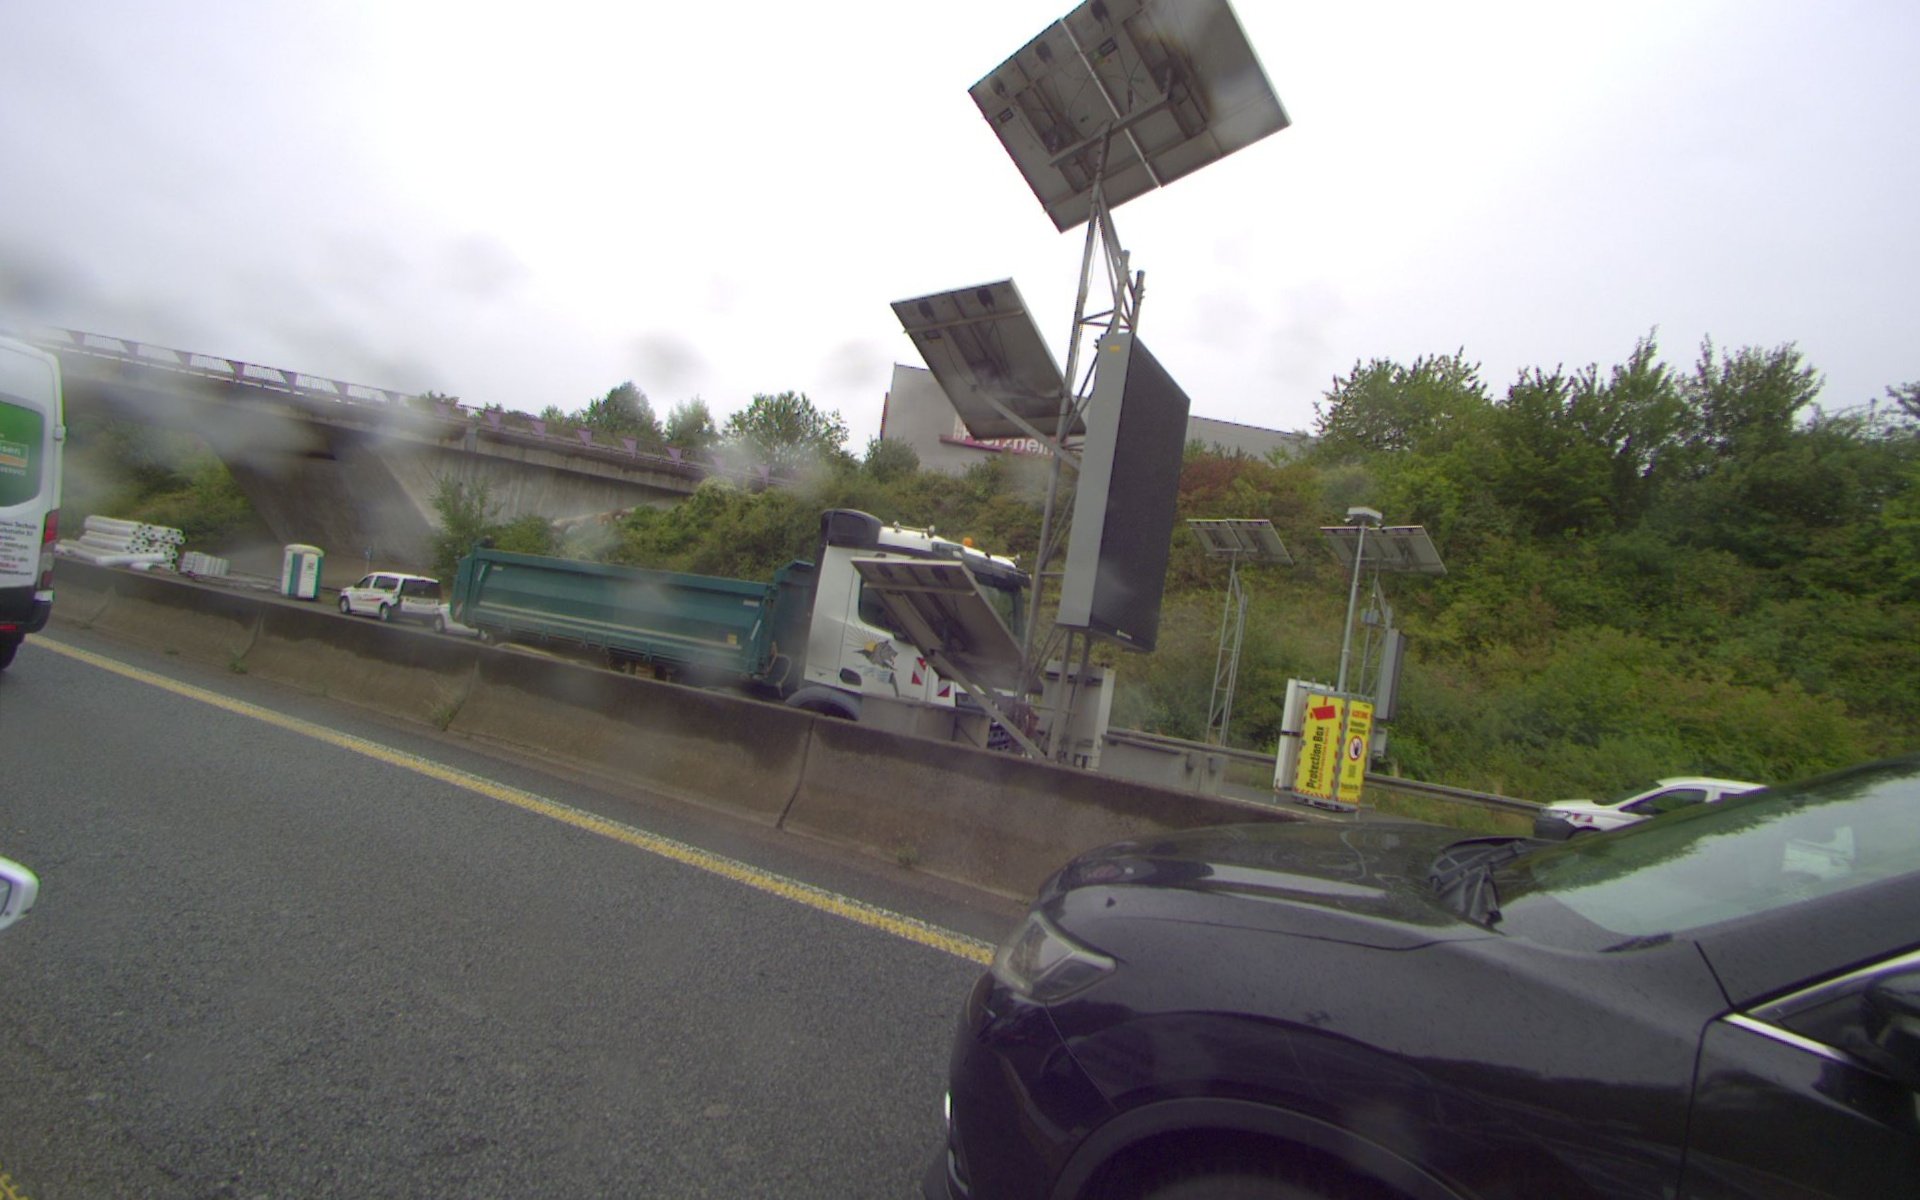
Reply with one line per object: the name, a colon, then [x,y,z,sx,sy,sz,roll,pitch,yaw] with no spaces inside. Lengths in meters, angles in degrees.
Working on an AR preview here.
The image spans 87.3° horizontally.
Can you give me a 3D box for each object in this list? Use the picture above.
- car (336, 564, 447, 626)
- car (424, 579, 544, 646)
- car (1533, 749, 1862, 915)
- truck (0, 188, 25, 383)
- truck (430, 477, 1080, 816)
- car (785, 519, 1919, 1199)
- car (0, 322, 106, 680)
car: [-21.404,-0.200,37.833,4.090,1.829,1.850,6,-2,34]
car: [-16.373,0.419,34.546,4.058,1.765,1.731,6,-2,34]
car: [12.269,3.804,17.134,4.197,1.778,1.732,6,-2,31]
truck: [-23.837,-4.317,18.666,20.039,5.739,3.987,6,-1,32]
truck: [-3.158,0.308,13.556,8.966,3.168,2.526,6,-1,31]
car: [2.134,0.989,1.607,4.563,1.694,1.894,6,-2,31]
car: [-10.170,-1.077,8.842,6.017,2.707,2.148,6,-2,32]
